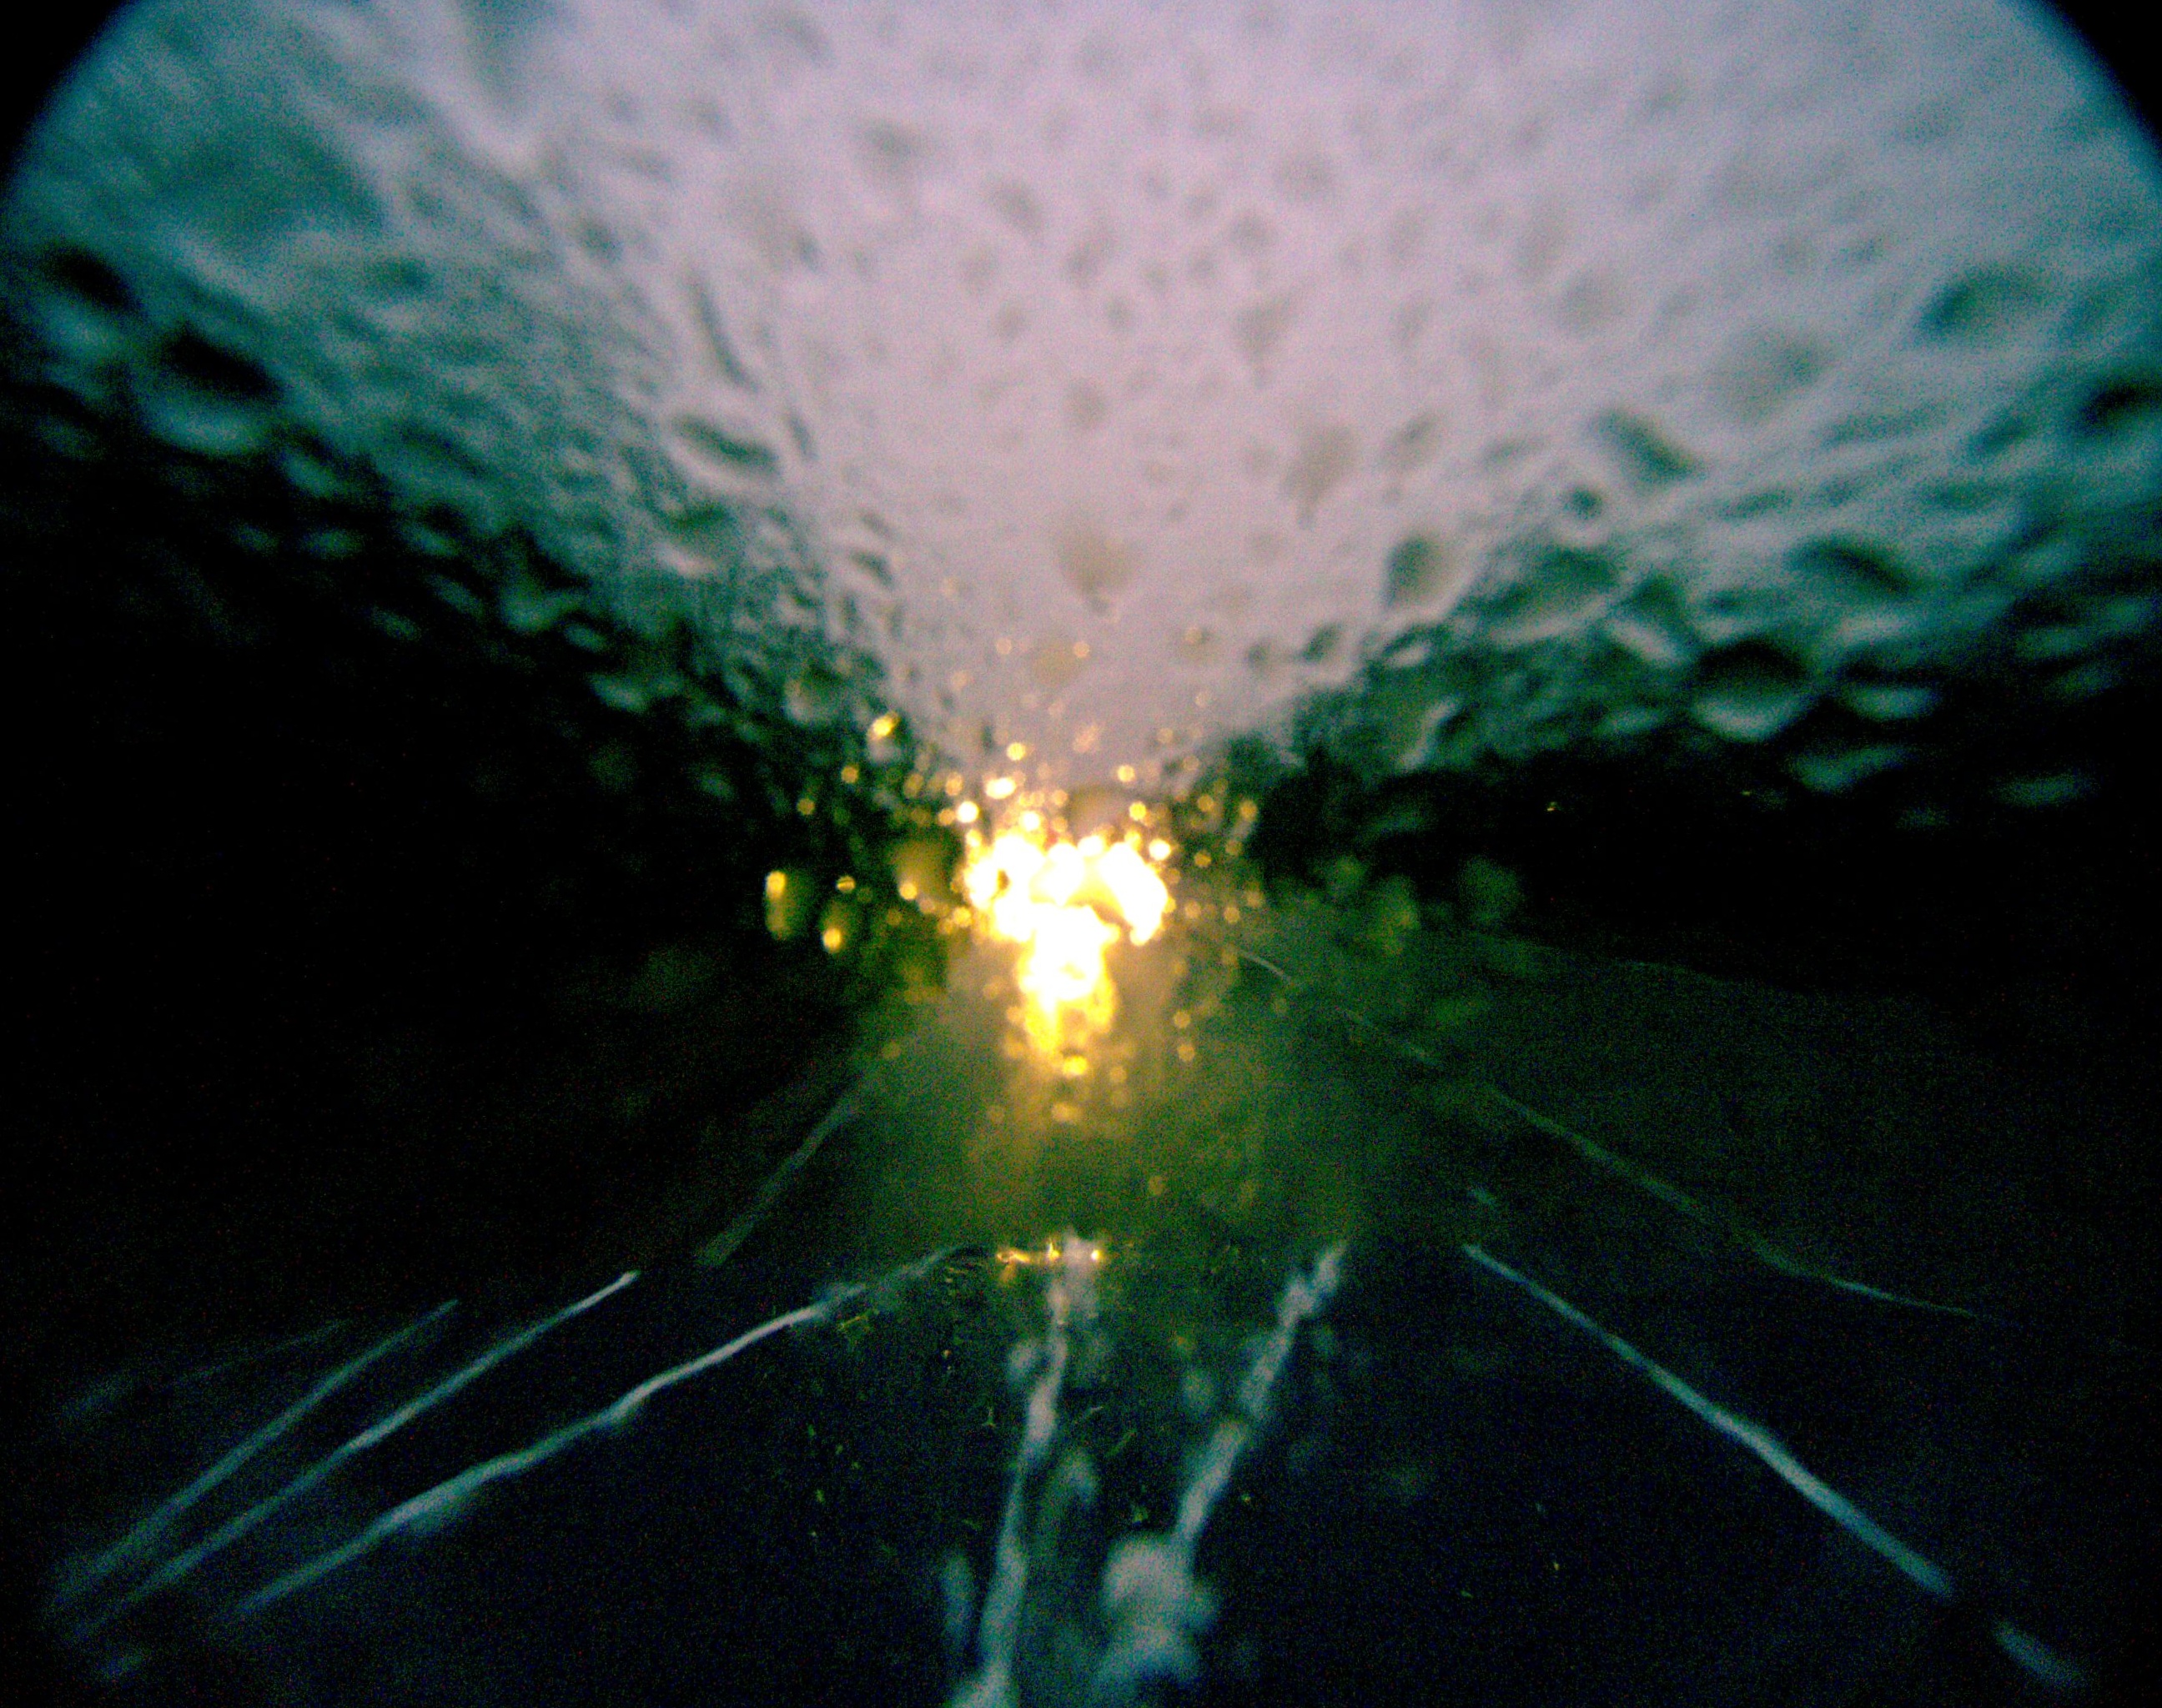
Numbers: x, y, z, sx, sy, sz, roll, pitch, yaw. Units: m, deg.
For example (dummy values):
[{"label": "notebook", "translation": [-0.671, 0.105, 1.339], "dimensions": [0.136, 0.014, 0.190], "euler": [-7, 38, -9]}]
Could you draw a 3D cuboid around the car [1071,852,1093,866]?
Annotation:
[{"label": "car", "translation": [0.067, 0.532, 82.203], "dimensions": [1.851, 1.452, 4.243], "euler": [-3, 0, -5]}]

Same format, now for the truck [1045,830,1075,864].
[{"label": "truck", "translation": [-3.115, -1.014, 108.848], "dimensions": [3.357, 4.401, 11.162], "euler": [-4, 0, -5]}]

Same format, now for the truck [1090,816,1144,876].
[{"label": "truck", "translation": [2.237, -0.536, 51.038], "dimensions": [2.655, 3.576, 9.838], "euler": [-2, 1, -2]}]

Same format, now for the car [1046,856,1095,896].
[{"label": "car", "translation": [-0.415, 0.870, 31.732], "dimensions": [1.850, 1.429, 4.244], "euler": [-3, 0, 0]}]

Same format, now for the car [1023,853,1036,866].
[{"label": "car", "translation": [-7.382, 0.814, 108.267], "dimensions": [1.702, 1.721, 3.998], "euler": [-4, 0, -4]}]
